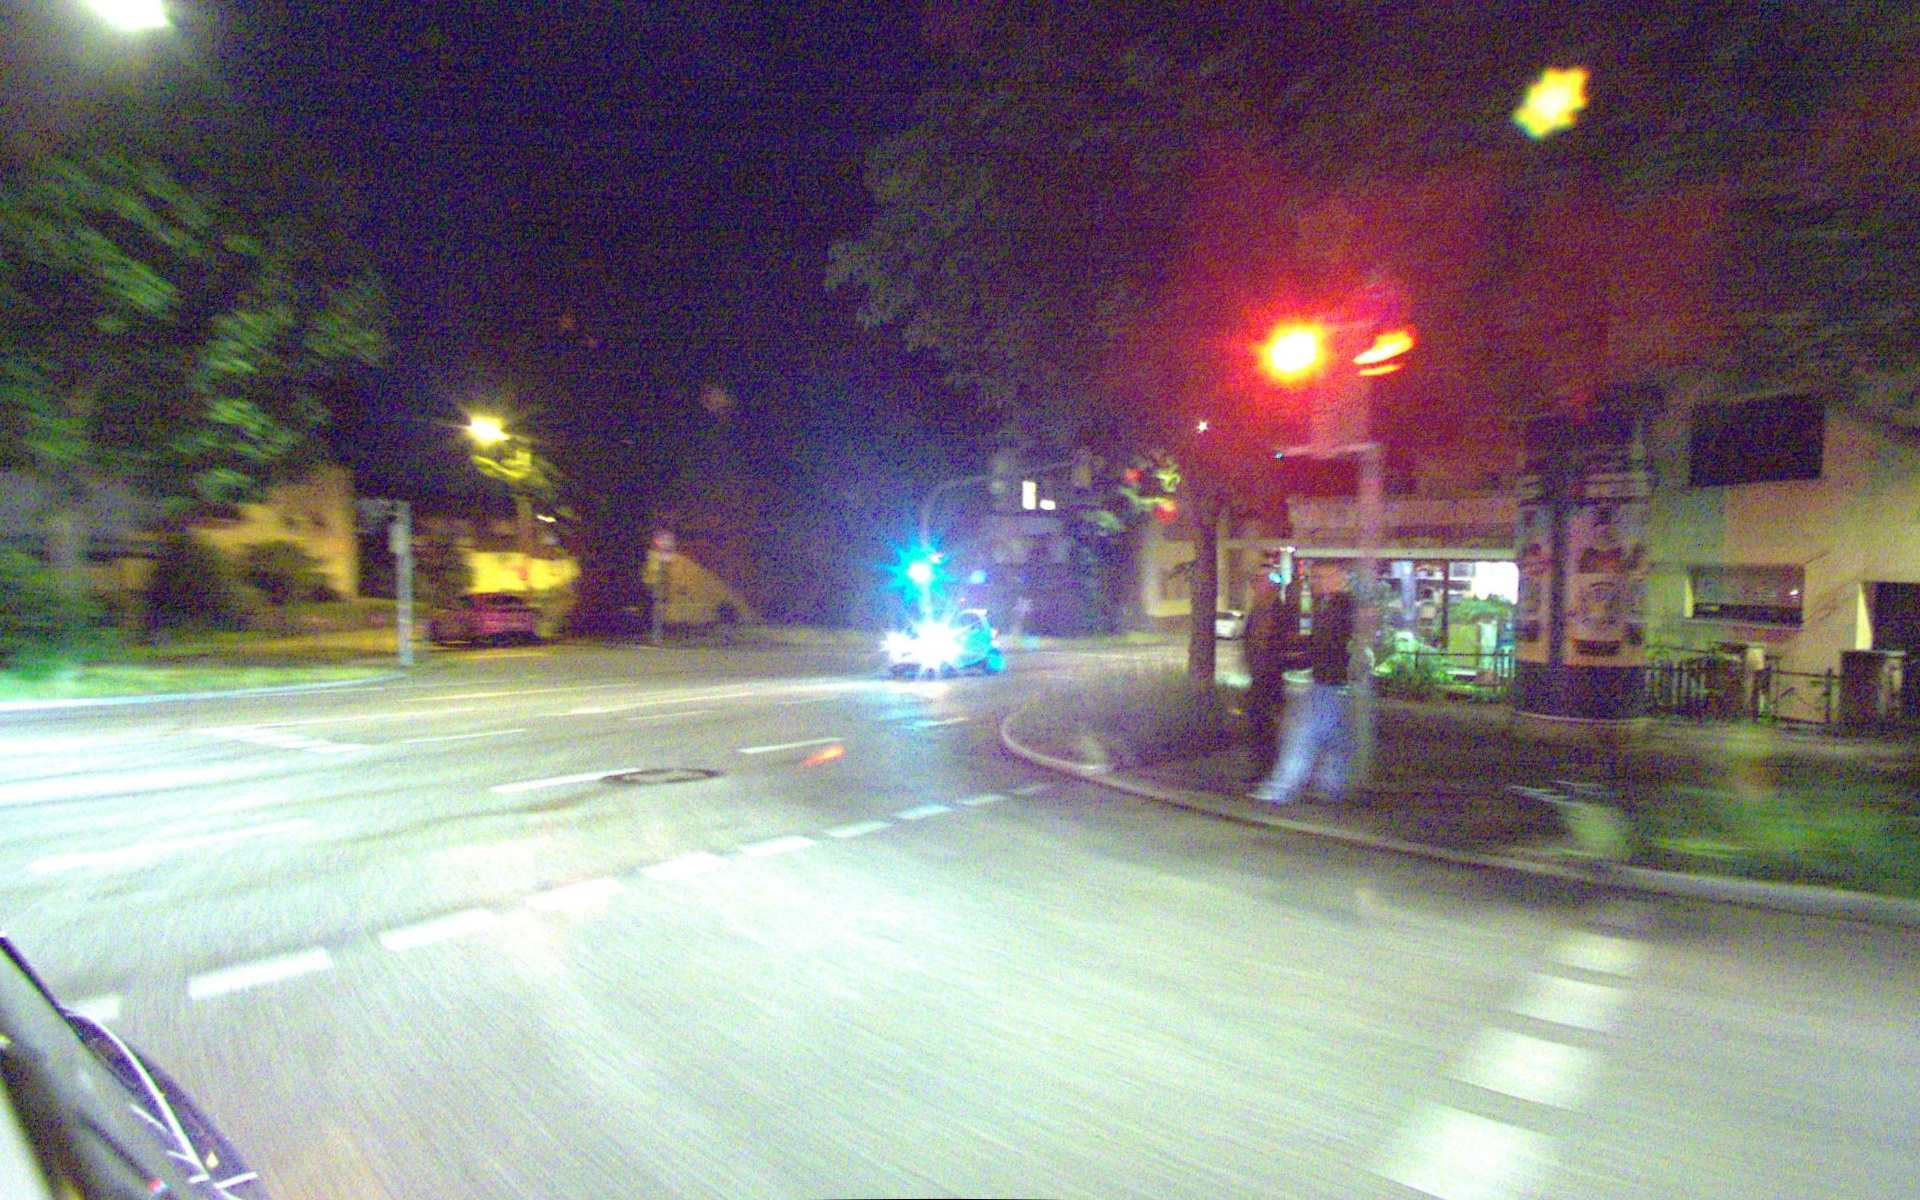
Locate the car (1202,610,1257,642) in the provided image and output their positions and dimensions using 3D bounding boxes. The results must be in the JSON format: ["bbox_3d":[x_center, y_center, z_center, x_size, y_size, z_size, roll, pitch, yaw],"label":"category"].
[{"bbox_3d":[13.801,1.311,51.755,1.624,1.505,3.368,3,1,35],"label":"car"}]

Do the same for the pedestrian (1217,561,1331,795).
[{"bbox_3d":[2.548,0.606,8.239,0.515,1.806,0.694,1,-1,-35],"label":"pedestrian"}]

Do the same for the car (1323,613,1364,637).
[{"bbox_3d":[25.193,1.646,66.444,1.535,1.426,3.365,3,1,38],"label":"car"}]

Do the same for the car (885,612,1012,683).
[{"bbox_3d":[-0.224,1.045,23.552,1.510,1.513,3.014,-1,-1,34],"label":"car"}]

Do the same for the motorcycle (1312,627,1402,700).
[{"bbox_3d":[7.328,1.136,18.792,0.608,1.239,2.044,0,-1,-9],"label":"motorcycle"}]

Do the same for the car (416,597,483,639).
[{"bbox_3d":[-18.511,0.605,36.632,1.848,1.398,4.089,-1,1,-31],"label":"car"}]

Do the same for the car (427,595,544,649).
[{"bbox_3d":[-14.969,0.649,31.827,2.023,1.567,4.257,0,0,-45],"label":"car"}]

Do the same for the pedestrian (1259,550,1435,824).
[{"bbox_3d":[2.743,0.576,7.185,0.964,1.783,0.719,-1,-1,40],"label":"pedestrian"}]
